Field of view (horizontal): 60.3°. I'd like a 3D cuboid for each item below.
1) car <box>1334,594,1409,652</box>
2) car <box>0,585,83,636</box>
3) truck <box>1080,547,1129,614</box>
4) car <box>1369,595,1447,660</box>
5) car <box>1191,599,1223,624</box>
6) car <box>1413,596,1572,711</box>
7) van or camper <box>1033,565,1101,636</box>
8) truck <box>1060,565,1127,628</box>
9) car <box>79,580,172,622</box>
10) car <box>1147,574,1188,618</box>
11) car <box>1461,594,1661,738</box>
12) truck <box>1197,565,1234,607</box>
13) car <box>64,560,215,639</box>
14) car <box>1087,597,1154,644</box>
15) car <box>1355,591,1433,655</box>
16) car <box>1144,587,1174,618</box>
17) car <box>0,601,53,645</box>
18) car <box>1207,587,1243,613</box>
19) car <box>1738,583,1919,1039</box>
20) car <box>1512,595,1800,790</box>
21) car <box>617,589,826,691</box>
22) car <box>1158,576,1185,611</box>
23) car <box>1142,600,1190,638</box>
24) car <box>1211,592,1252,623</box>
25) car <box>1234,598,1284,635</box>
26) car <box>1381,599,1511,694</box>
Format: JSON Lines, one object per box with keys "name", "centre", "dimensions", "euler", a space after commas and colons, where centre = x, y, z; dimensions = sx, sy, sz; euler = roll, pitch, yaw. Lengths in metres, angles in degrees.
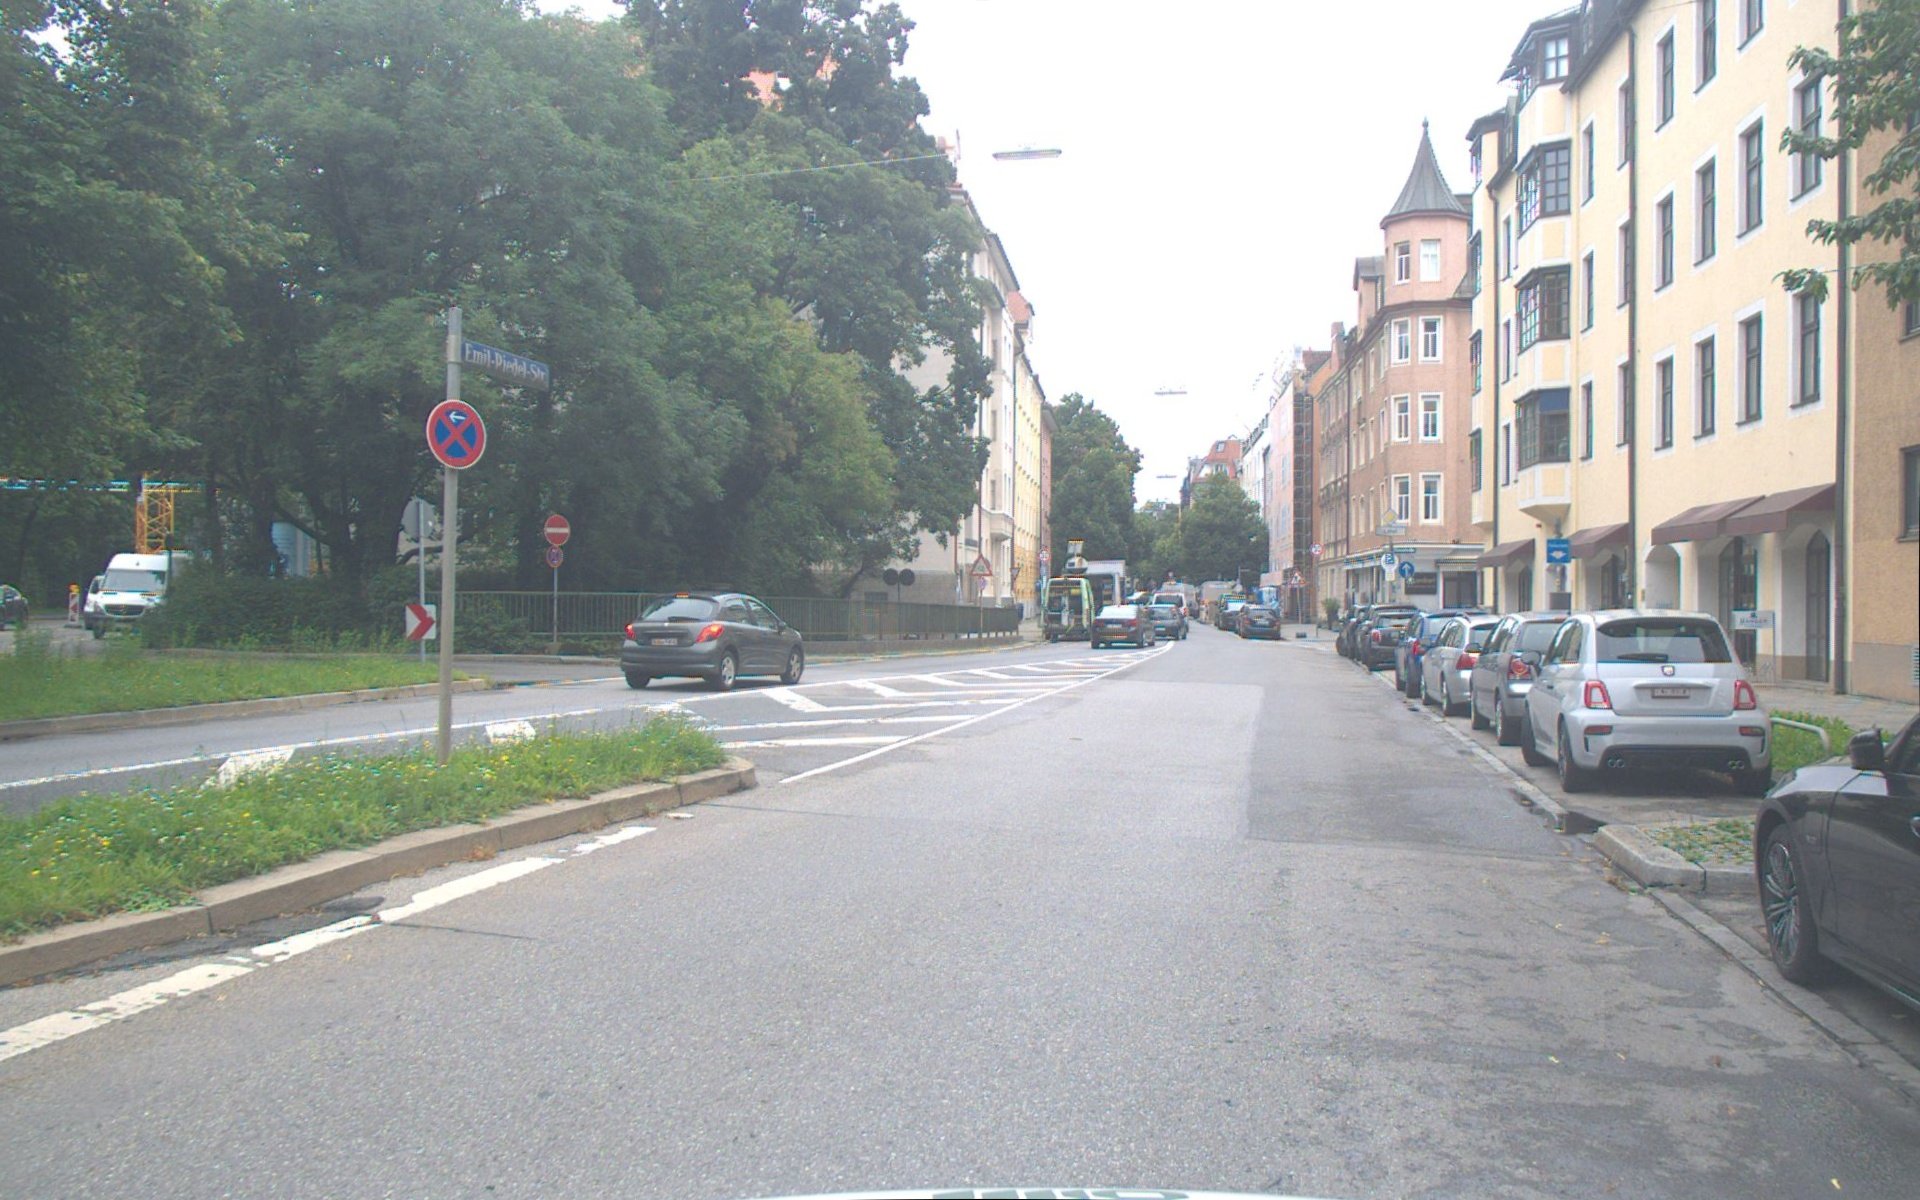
{"name": "car", "centre": [12.884, 0.687, 52.010], "dimensions": [1.780, 1.709, 4.514], "euler": [-1, 0, 8]}
{"name": "car", "centre": [-35.547, 0.386, 63.628], "dimensions": [1.711, 1.907, 3.997], "euler": [0, 0, -4]}
{"name": "truck", "centre": [9.126, -1.203, 104.582], "dimensions": [2.949, 4.021, 7.000], "euler": [1, 0, 5]}
{"name": "car", "centre": [11.194, 0.666, 41.522], "dimensions": [1.719, 1.522, 3.826], "euler": [-1, 0, 13]}
{"name": "car", "centre": [15.981, 0.725, 107.191], "dimensions": [1.948, 1.454, 4.144], "euler": [0, 1, 7]}
{"name": "car", "centre": [7.753, 0.719, 24.448], "dimensions": [1.654, 1.522, 4.438], "euler": [-1, 0, 10]}
{"name": "van or camper", "centre": [4.683, -0.038, 71.241], "dimensions": [2.545, 2.889, 6.191], "euler": [0, 1, 7]}
{"name": "truck", "centre": [6.662, -0.248, 81.608], "dimensions": [2.714, 2.923, 7.208], "euler": [0, 1, 9]}
{"name": "car", "centre": [-30.859, 0.018, 61.285], "dimensions": [1.857, 1.472, 4.290], "euler": [0, 0, -9]}
{"name": "car", "centre": [10.313, -0.236, 82.229], "dimensions": [1.948, 2.111, 4.144], "euler": [0, 1, 7]}
{"name": "car", "centre": [6.983, 0.703, 19.551], "dimensions": [1.593, 1.522, 3.790], "euler": [-1, 0, 10]}
{"name": "truck", "centre": [18.989, -1.050, 123.237], "dimensions": [2.439, 3.025, 5.331], "euler": [1, 0, 6]}
{"name": "car", "centre": [-25.309, -0.022, 51.259], "dimensions": [2.254, 2.309, 5.127], "euler": [0, 0, -2]}
{"name": "car", "centre": [5.696, 0.691, 58.087], "dimensions": [1.947, 1.454, 4.910], "euler": [0, 1, 10]}
{"name": "car", "centre": [12.216, 0.619, 46.772], "dimensions": [1.719, 1.709, 4.710], "euler": [-1, 0, 10]}
{"name": "car", "centre": [13.547, 0.163, 112.657], "dimensions": [1.951, 2.049, 4.003], "euler": [0, 0, 6]}
{"name": "car", "centre": [-33.358, 0.783, 57.026], "dimensions": [1.853, 1.472, 4.387], "euler": [0, 0, -2]}
{"name": "car", "centre": [15.573, -0.008, 97.372], "dimensions": [1.948, 1.454, 4.144], "euler": [0, 1, 7]}
{"name": "car", "centre": [4.019, 0.685, 5.118], "dimensions": [1.753, 1.523, 4.380], "euler": [-3, 0, 10]}
{"name": "car", "centre": [6.117, 0.734, 14.960], "dimensions": [1.593, 1.522, 3.824], "euler": [-1, 0, 10]}
{"name": "car", "centre": [-3.696, 0.580, 26.362], "dimensions": [1.722, 1.486, 4.076], "euler": [0, 0, 17]}
{"name": "car", "centre": [16.049, -0.500, 125.466], "dimensions": [1.898, 2.523, 4.786], "euler": [1, 0, 8]}
{"name": "car", "centre": [8.641, 0.774, 69.458], "dimensions": [1.948, 1.454, 4.144], "euler": [0, 1, 7]}
{"name": "car", "centre": [14.689, 0.374, 89.553], "dimensions": [1.805, 1.454, 4.309], "euler": [3, 1, 5]}
{"name": "car", "centre": [13.504, 0.721, 74.995], "dimensions": [1.805, 1.454, 4.186], "euler": [3, 1, 5]}
{"name": "car", "centre": [8.532, 0.766, 29.343], "dimensions": [1.719, 1.522, 4.491], "euler": [-1, 0, 10]}
